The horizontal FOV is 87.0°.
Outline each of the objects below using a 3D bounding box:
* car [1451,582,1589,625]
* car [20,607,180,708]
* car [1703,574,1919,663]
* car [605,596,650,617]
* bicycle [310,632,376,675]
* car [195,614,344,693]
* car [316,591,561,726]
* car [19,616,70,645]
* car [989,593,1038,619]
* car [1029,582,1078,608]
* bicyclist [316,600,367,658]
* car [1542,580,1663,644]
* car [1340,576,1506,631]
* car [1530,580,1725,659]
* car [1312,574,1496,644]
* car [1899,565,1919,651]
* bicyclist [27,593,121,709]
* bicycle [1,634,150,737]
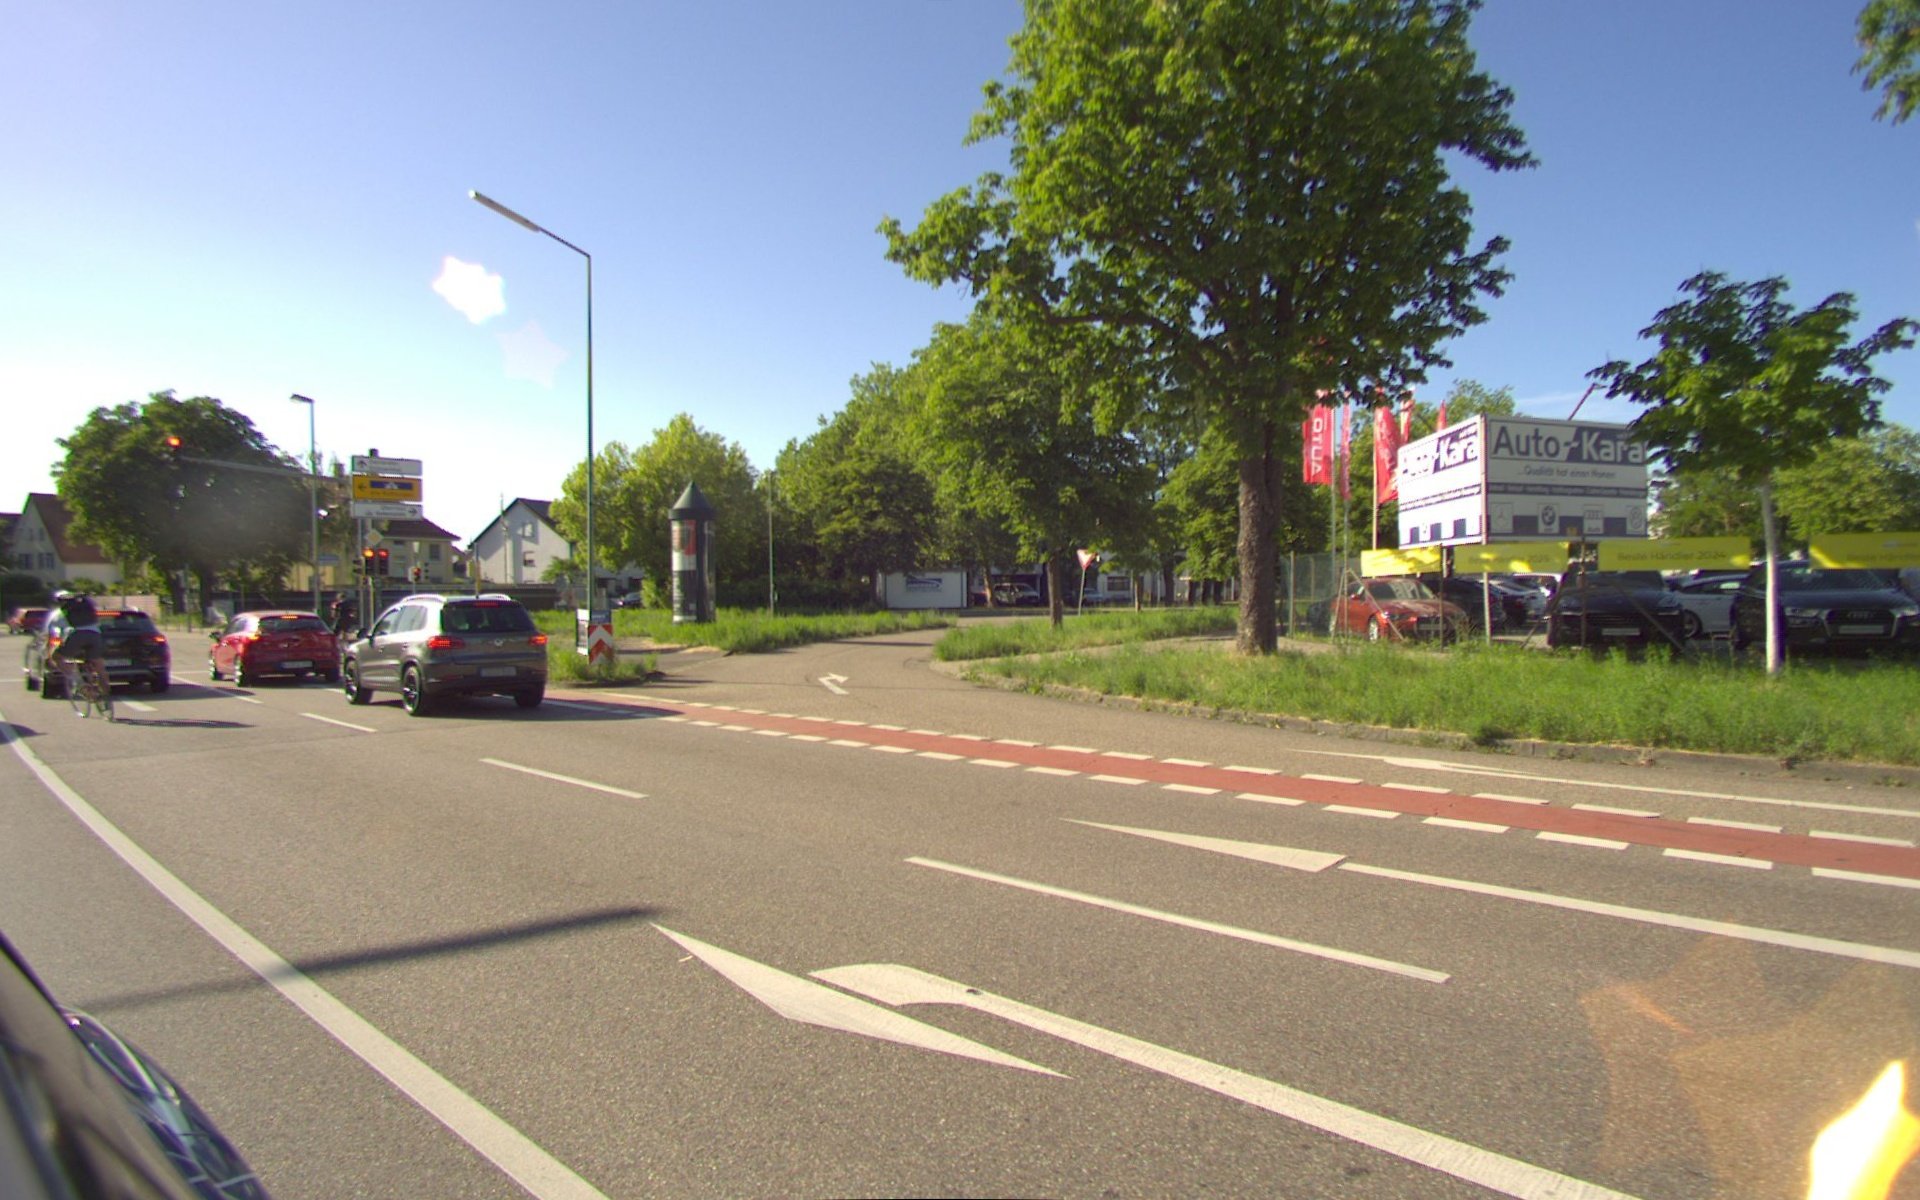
[{"bbox_3d":[20.399,0.148,36.963,1.811,1.419,4.005,-2,0,-42],"label":"car"},{"bbox_3d":[-15.852,0.963,18.581,4.002,1.611,1.891,-1,0,45],"label":"car"},{"bbox_3d":[13.972,0.251,16.394,2.028,1.250,3.907,-2,0,20],"label":"car"},{"bbox_3d":[-27.382,0.534,83.463,1.977,1.568,3.990,-2,0,8],"label":"car"},{"bbox_3d":[-15.616,1.332,25.596,2.198,1.024,0.926,-2,0,45],"label":"bicycle"},{"bbox_3d":[-14.219,1.020,20.761,3.891,1.425,1.764,-1,0,44],"label":"car"},{"bbox_3d":[-7.959,0.817,15.270,4.268,1.749,1.833,-2,-1,41],"label":"car"},{"bbox_3d":[-52.011,1.713,57.568,1.834,1.481,4.147,-1,0,-38],"label":"car"},{"bbox_3d":[4.342,0.492,82.432,1.966,2.029,4.012,-2,0,-31],"label":"car"},{"bbox_3d":[7.781,-0.369,84.615,1.966,2.029,4.012,-2,0,-31],"label":"car"},{"bbox_3d":[-15.665,0.733,25.630,0.823,1.412,0.922,-2,0,44],"label":"bicyclist"},{"bbox_3d":[16.562,0.275,26.019,1.834,1.517,3.942,-1,0,44],"label":"car"},{"bbox_3d":[13.330,0.111,29.271,1.719,1.473,4.002,-1,0,-45],"label":"car"},{"bbox_3d":[11.909,0.320,18.385,2.028,1.250,3.907,-2,0,20],"label":"car"},{"bbox_3d":[9.666,0.186,22.587,2.332,1.320,5.050,-2,0,7],"label":"car"},{"bbox_3d":[16.297,0.113,15.163,1.933,1.423,3.852,-2,0,22],"label":"car"},{"bbox_3d":[-11.965,0.669,13.674,0.823,1.496,0.766,-2,0,35],"label":"bicyclist"},{"bbox_3d":[-12.073,1.095,13.756,3.205,1.235,0.786,-1,0,35],"label":"bicycle"}]
